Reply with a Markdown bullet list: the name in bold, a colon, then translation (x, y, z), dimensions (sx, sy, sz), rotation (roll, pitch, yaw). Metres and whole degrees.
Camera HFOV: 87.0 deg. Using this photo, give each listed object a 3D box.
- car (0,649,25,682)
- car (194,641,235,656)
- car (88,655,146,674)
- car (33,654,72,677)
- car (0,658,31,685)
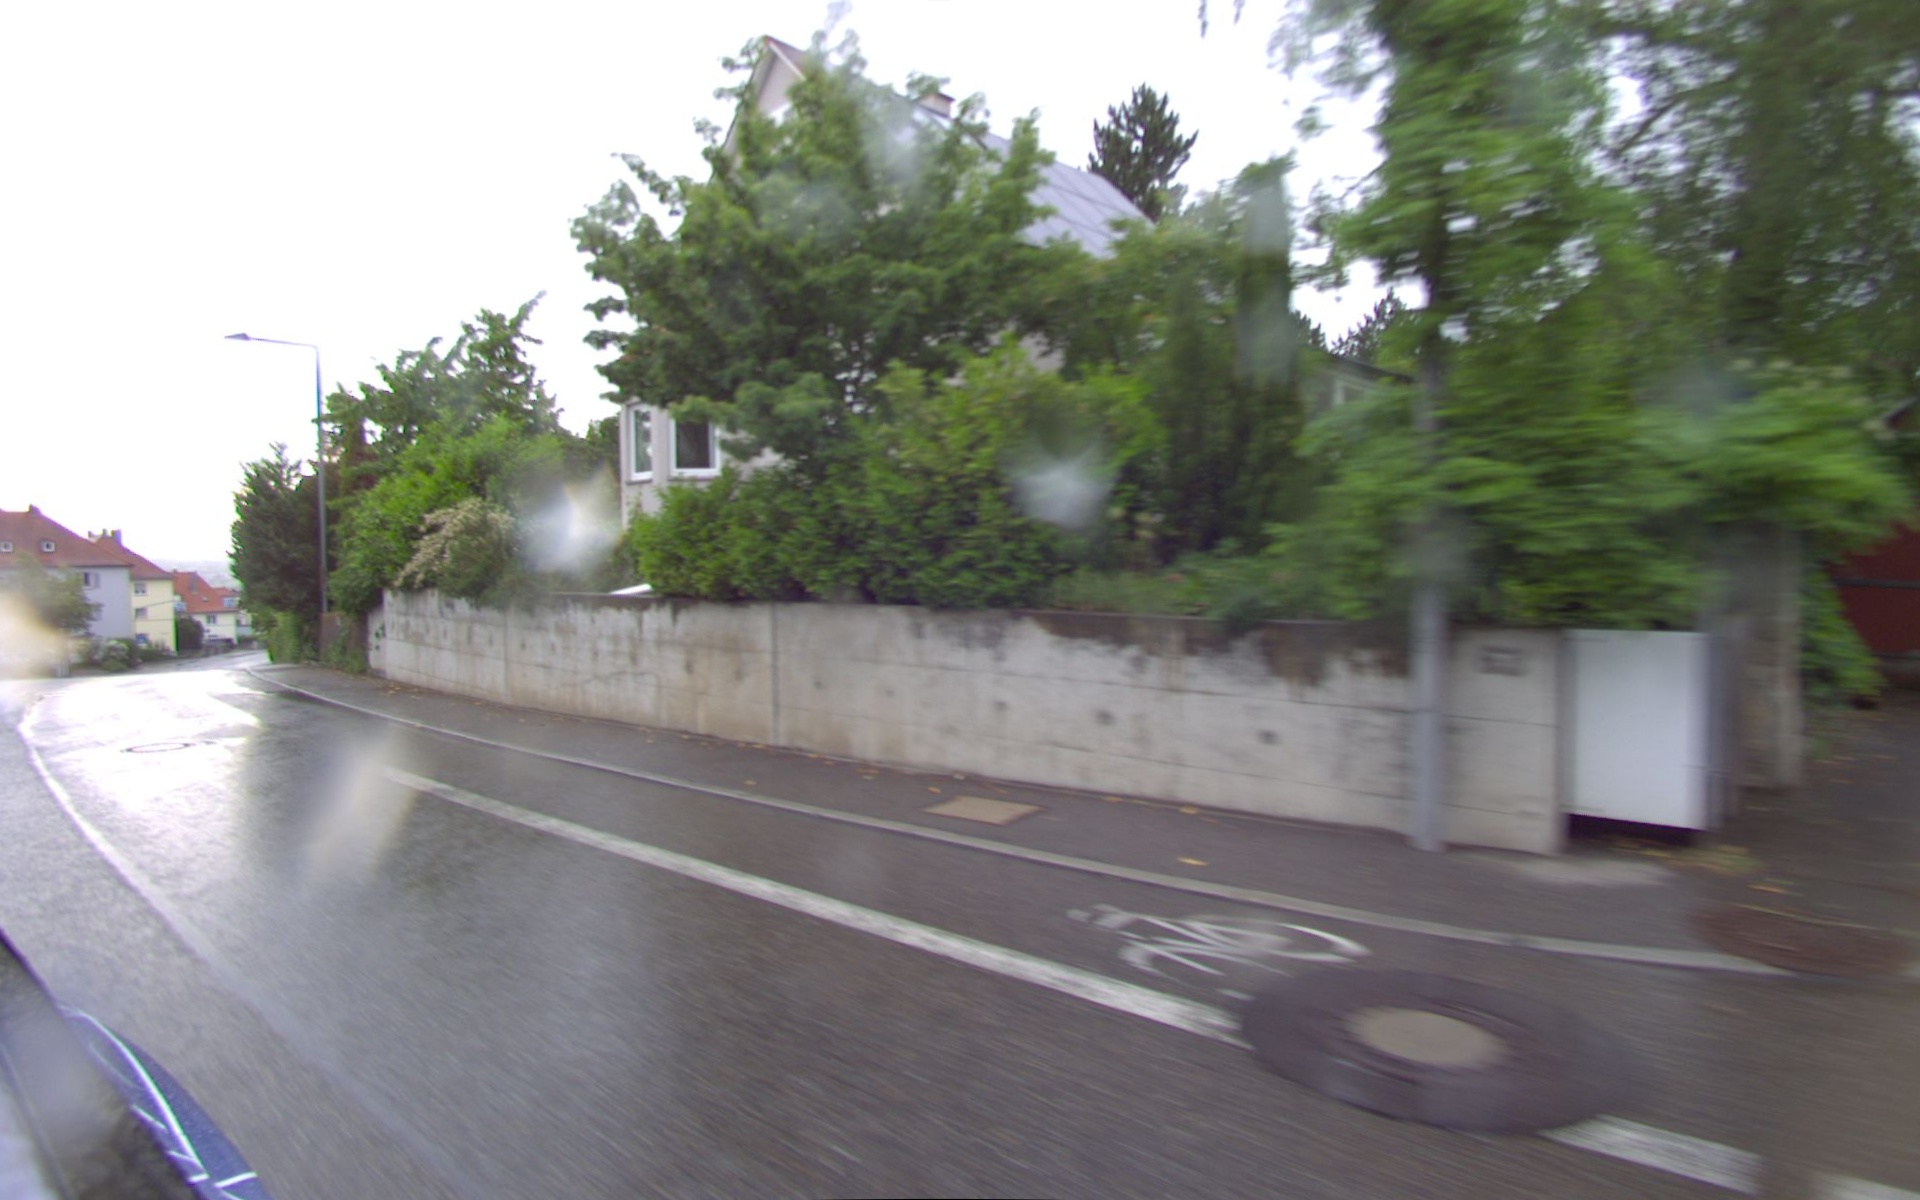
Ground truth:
- **car**: translation (-50.603, 3.414, 51.450), dimensions (4.470, 1.673, 1.858), rotation (0, -4, -41)
- **car**: translation (-94.724, 6.180, 128.604), dimensions (1.769, 1.795, 3.883), rotation (1, -1, 39)
- **car**: translation (-83.708, 6.394, 100.550), dimensions (4.026, 1.418, 1.729), rotation (-4, 0, -13)
- **car**: translation (-73.179, 5.242, 81.564), dimensions (3.790, 1.575, 1.702), rotation (1, -1, 38)
- **car**: translation (-53.731, 3.995, 55.650), dimensions (3.694, 1.470, 1.728), rotation (-1, -4, -36)
